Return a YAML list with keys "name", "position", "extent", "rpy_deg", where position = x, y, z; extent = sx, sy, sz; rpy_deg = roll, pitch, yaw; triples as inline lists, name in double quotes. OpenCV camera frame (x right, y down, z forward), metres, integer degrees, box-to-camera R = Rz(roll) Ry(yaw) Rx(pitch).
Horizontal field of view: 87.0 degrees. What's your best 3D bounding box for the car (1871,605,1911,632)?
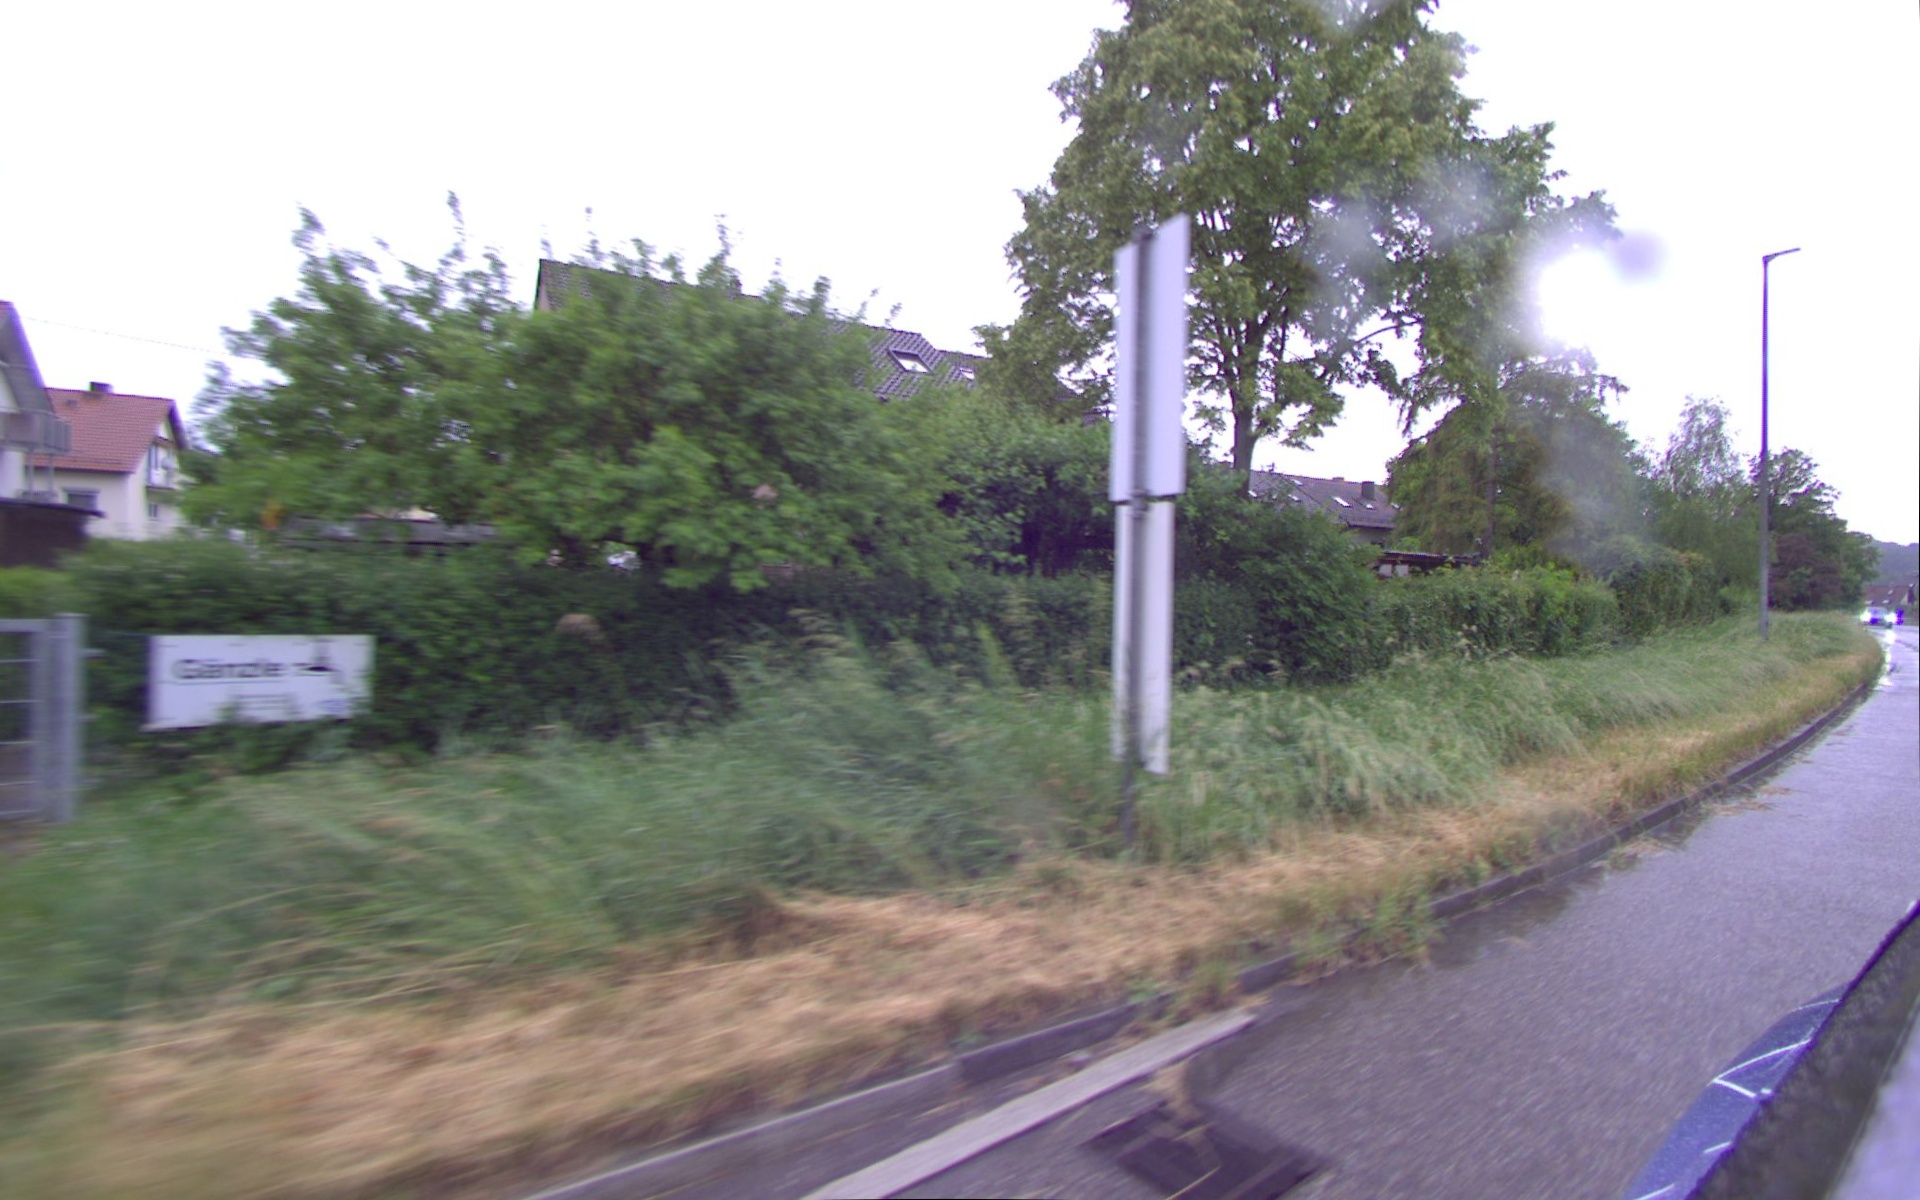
- name: "car"
  position: [67.775, 1.336, 73.713]
  extent: [1.992, 1.865, 3.940]
  rpy_deg: [2, 1, 41]
